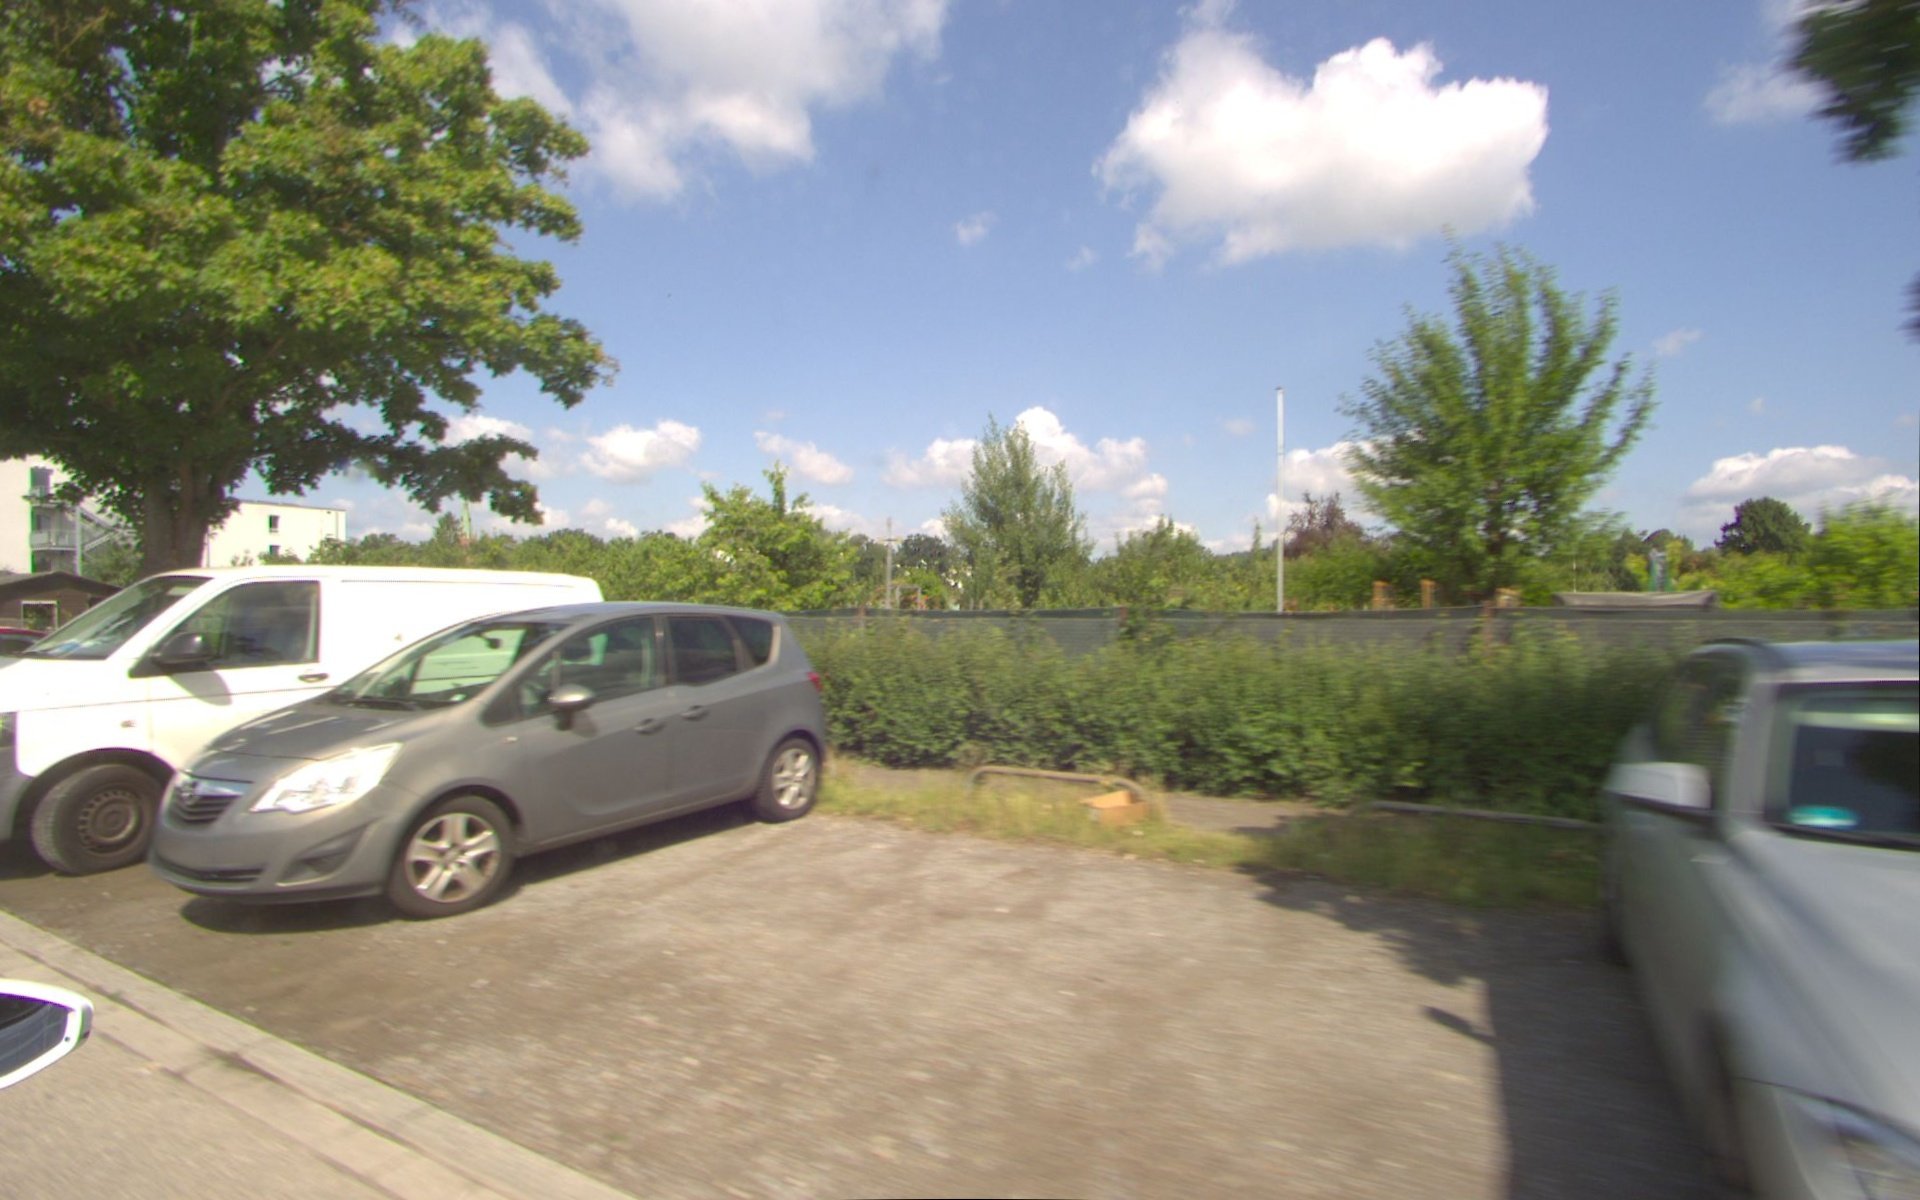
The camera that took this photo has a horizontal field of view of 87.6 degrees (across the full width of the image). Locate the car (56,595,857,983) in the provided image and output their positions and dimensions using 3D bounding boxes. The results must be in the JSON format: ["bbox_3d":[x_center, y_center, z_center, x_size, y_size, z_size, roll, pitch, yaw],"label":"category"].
[{"bbox_3d":[-2.756,0.784,6.487,1.971,1.613,4.234,0,0,32],"label":"car"}]

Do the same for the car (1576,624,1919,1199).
[{"bbox_3d":[3.010,0.820,2.775,1.969,1.485,4.574,0,-1,29],"label":"car"}]

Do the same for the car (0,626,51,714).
[{"bbox_3d":[-17.432,1.117,15.767,1.879,1.446,4.237,-1,-2,28],"label":"car"}]

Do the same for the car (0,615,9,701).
[{"bbox_3d":[-19.491,1.026,17.541,1.842,1.593,3.759,-1,-2,31],"label":"car"}]

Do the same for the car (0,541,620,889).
[{"bbox_3d":[-5.181,0.630,7.709,2.080,1.911,4.627,0,0,30],"label":"car"}]

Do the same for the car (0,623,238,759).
[{"bbox_3d":[-11.423,1.044,11.951,1.852,1.523,4.176,-1,-2,33],"label":"car"}]
